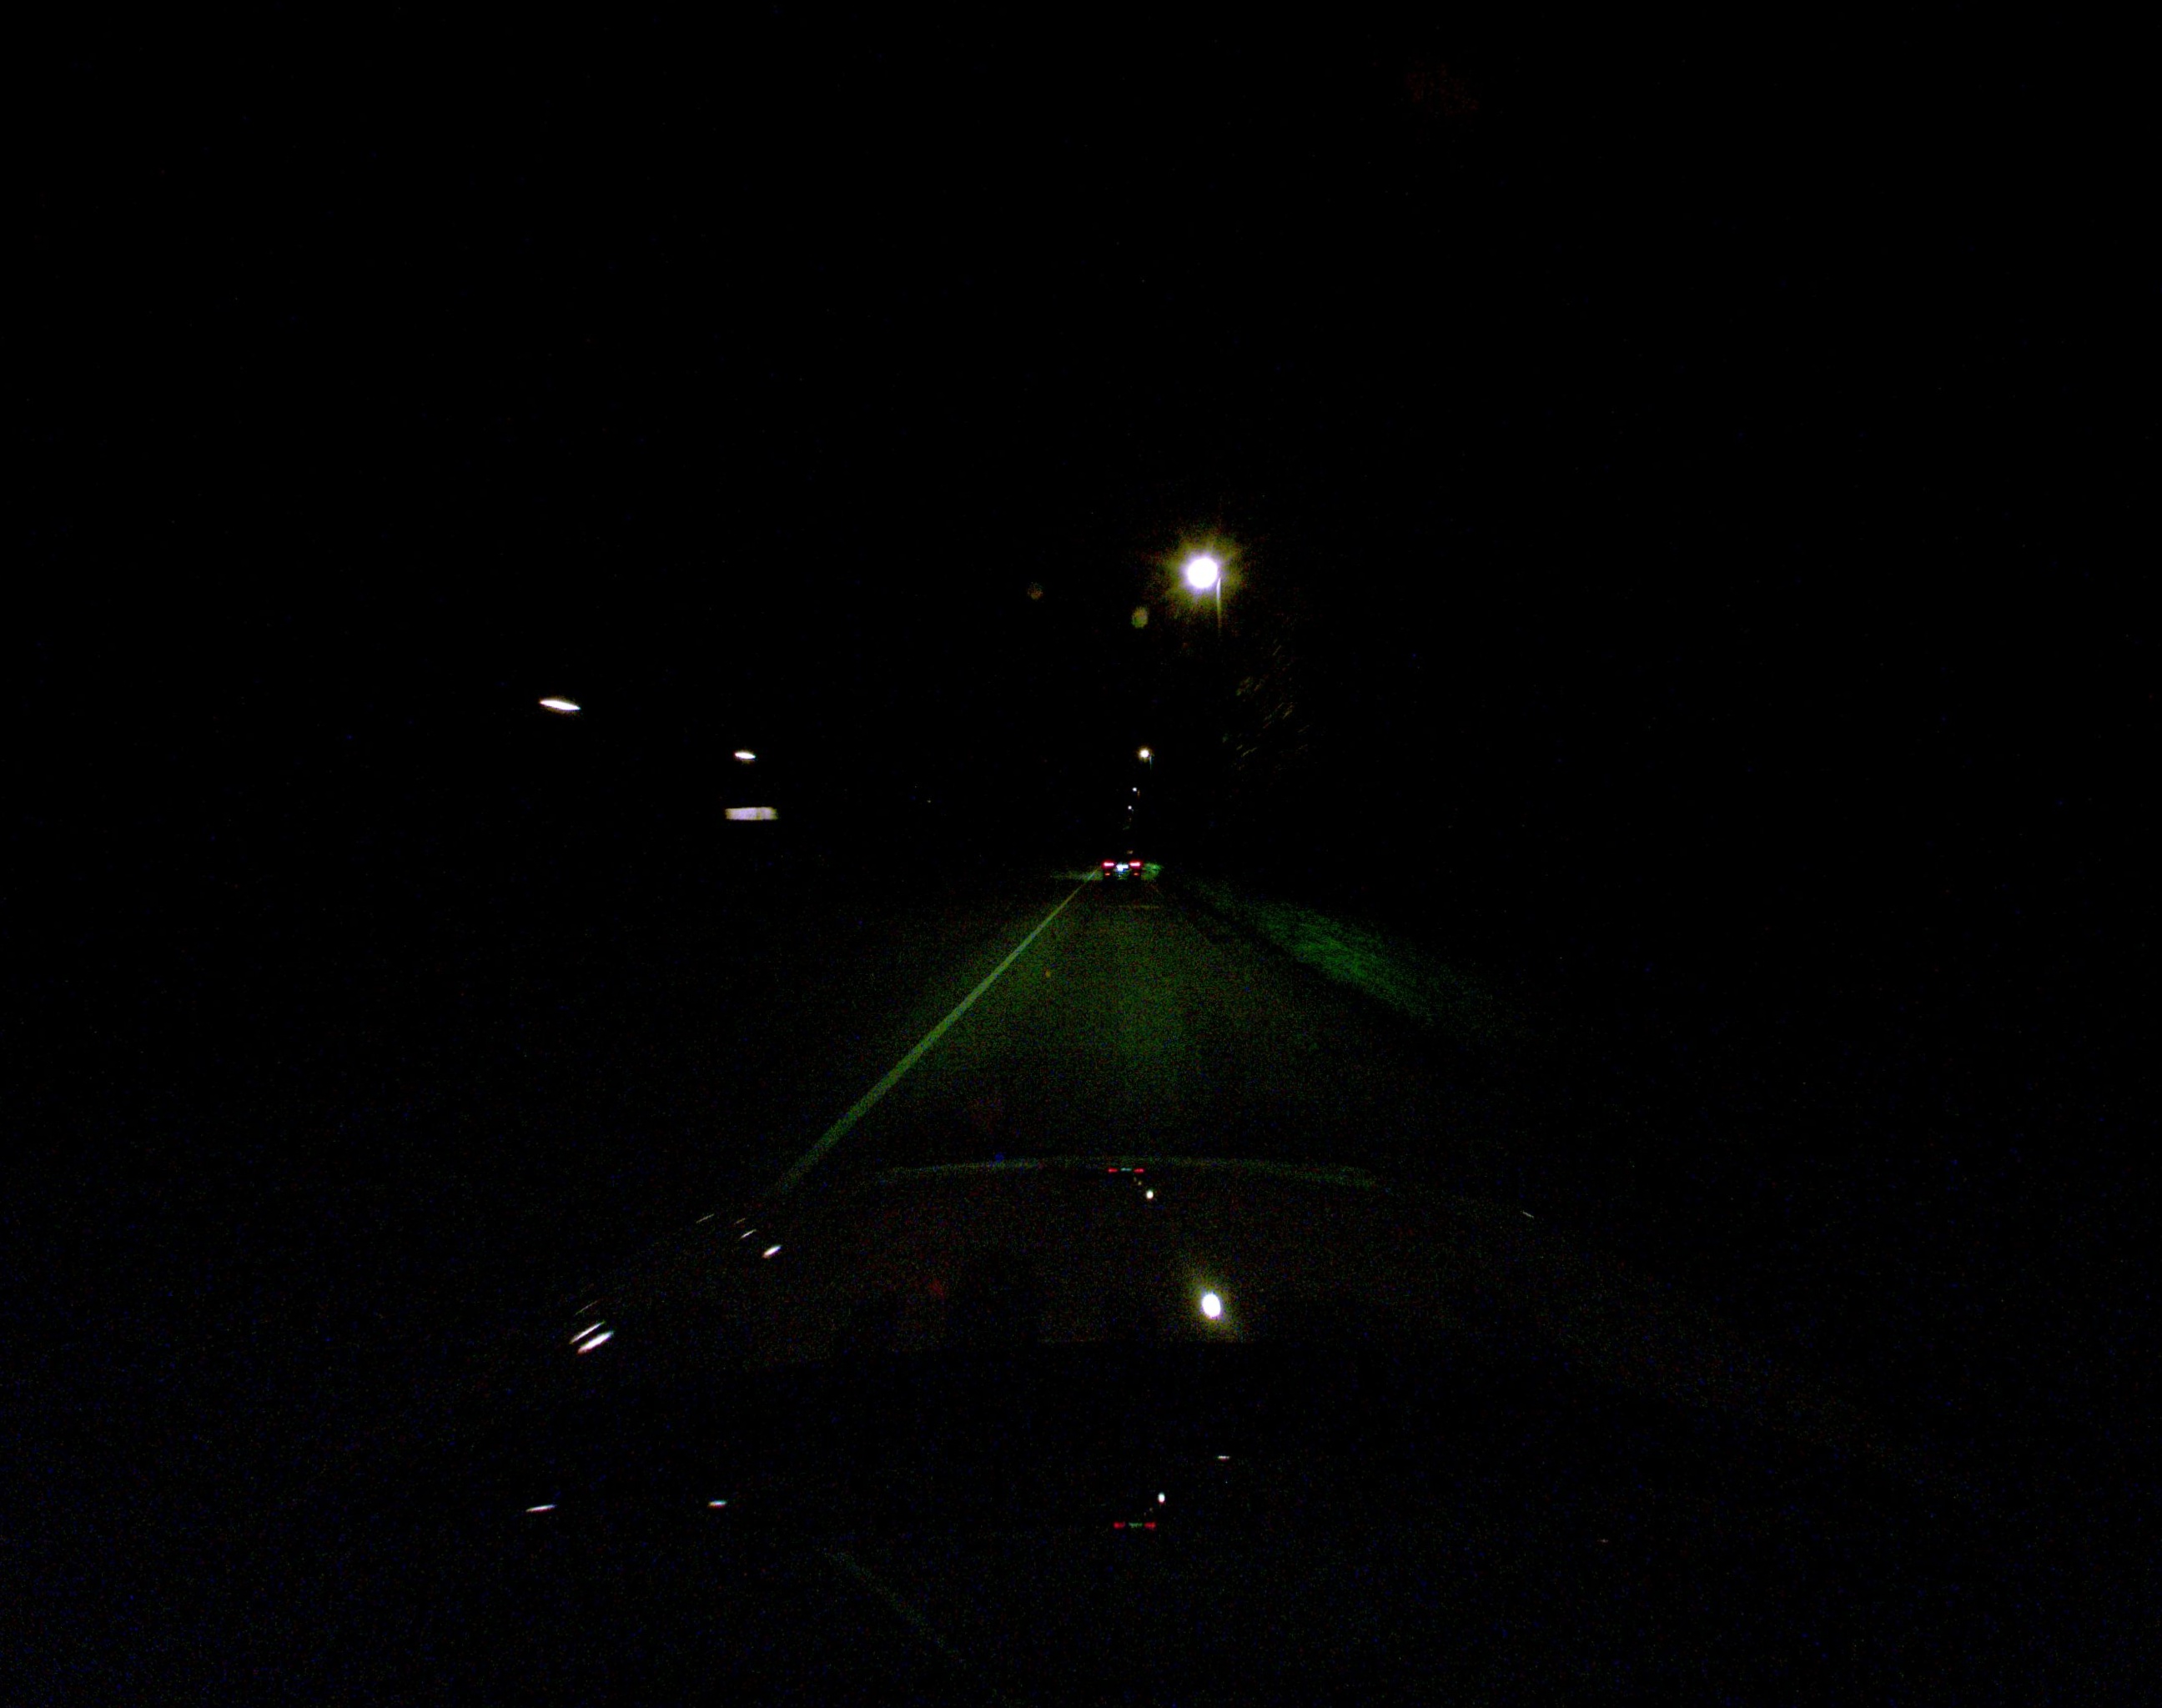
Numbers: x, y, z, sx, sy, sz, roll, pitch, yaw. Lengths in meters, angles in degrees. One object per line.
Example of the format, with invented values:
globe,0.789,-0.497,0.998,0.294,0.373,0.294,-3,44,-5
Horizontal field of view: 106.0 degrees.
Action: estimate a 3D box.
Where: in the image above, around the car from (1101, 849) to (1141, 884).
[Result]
car,1.890,0.552,39.156,1.808,1.573,3.945,-1,0,1
